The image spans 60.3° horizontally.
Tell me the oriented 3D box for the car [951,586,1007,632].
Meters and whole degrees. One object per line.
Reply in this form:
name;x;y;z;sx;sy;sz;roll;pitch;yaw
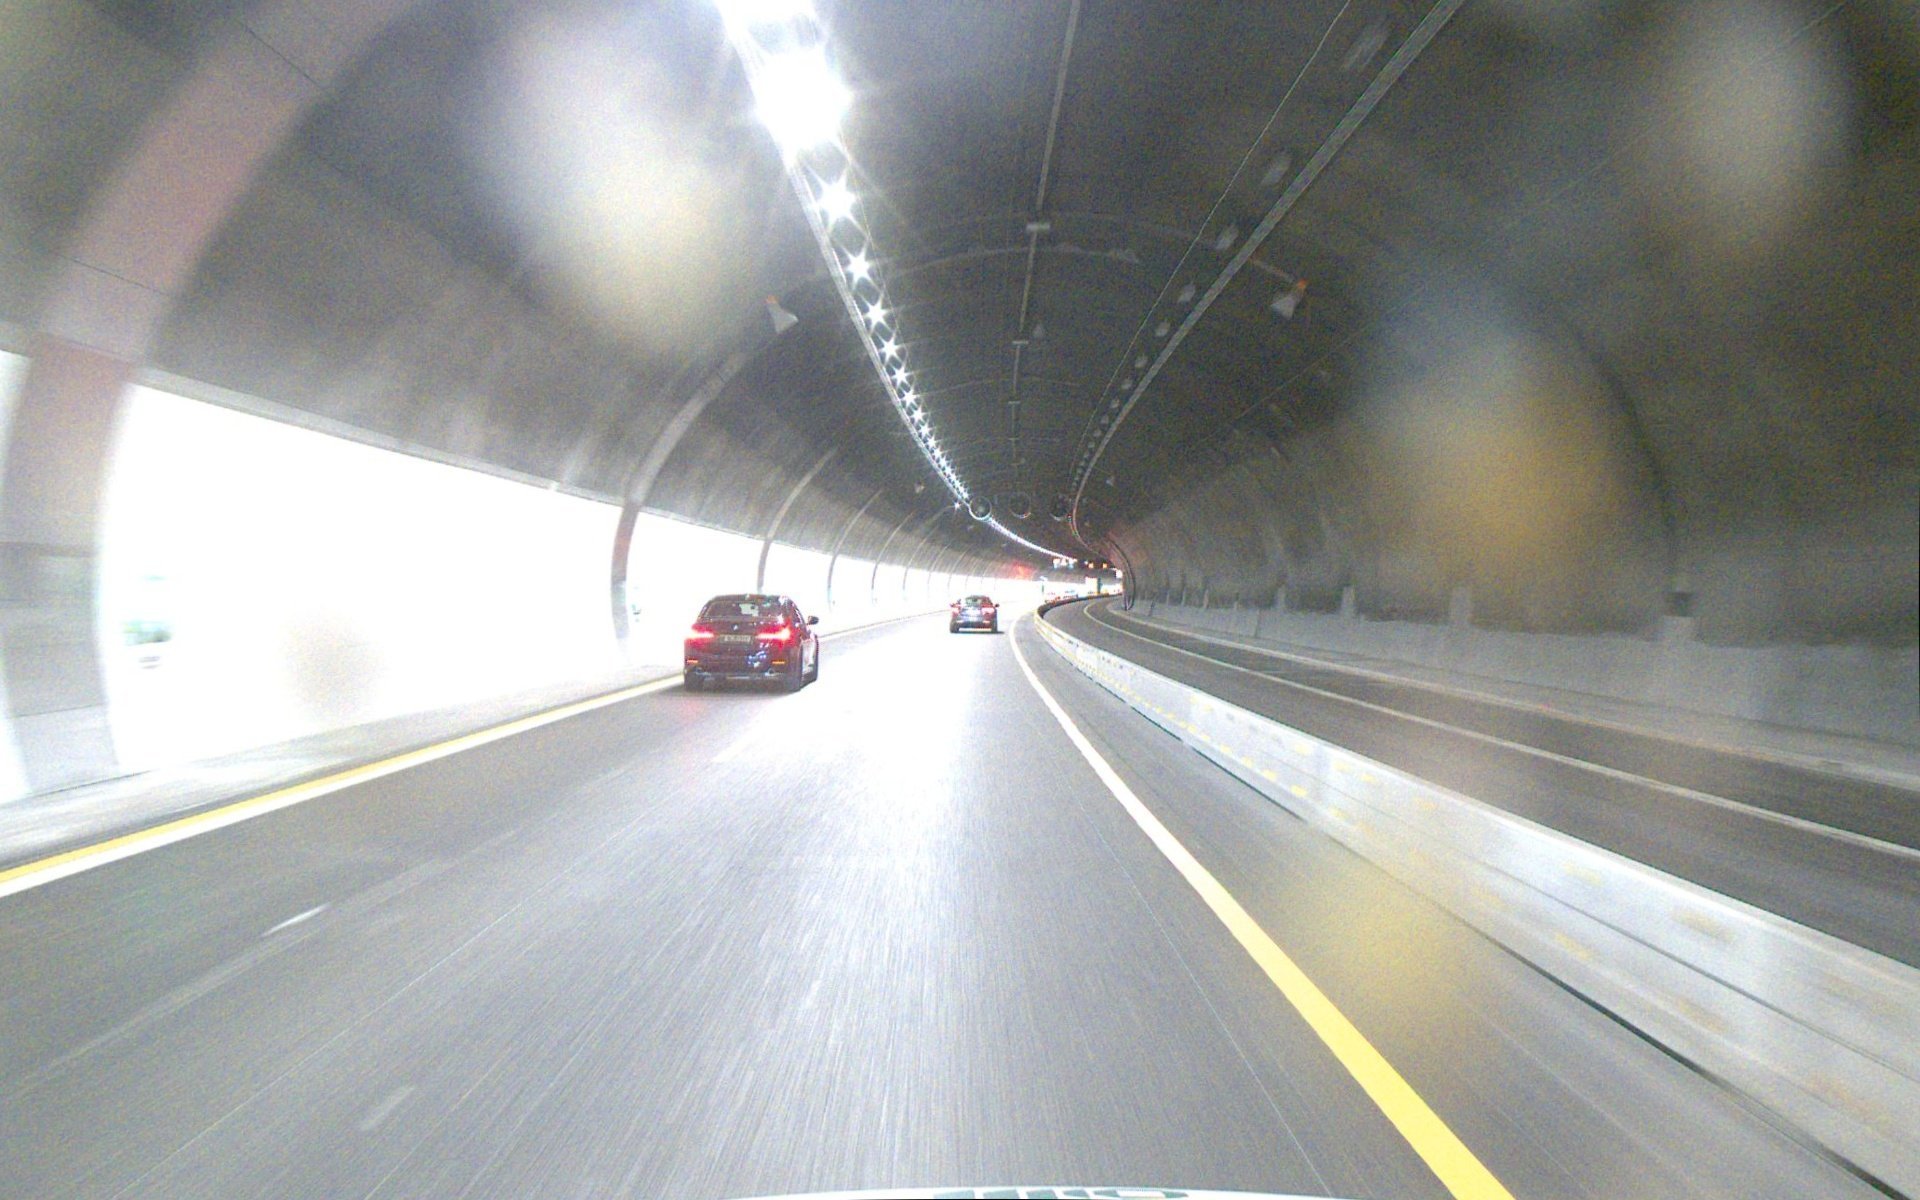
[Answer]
car;0.779;0.336;64.594;2.096;1.735;4.001;0;0;2

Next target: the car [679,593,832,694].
car;-3.194;0.625;26.791;1.741;1.463;4.884;1;0;1

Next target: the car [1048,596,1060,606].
car;12.707;0.105;223.674;1.561;1.356;3.753;0;0;6
